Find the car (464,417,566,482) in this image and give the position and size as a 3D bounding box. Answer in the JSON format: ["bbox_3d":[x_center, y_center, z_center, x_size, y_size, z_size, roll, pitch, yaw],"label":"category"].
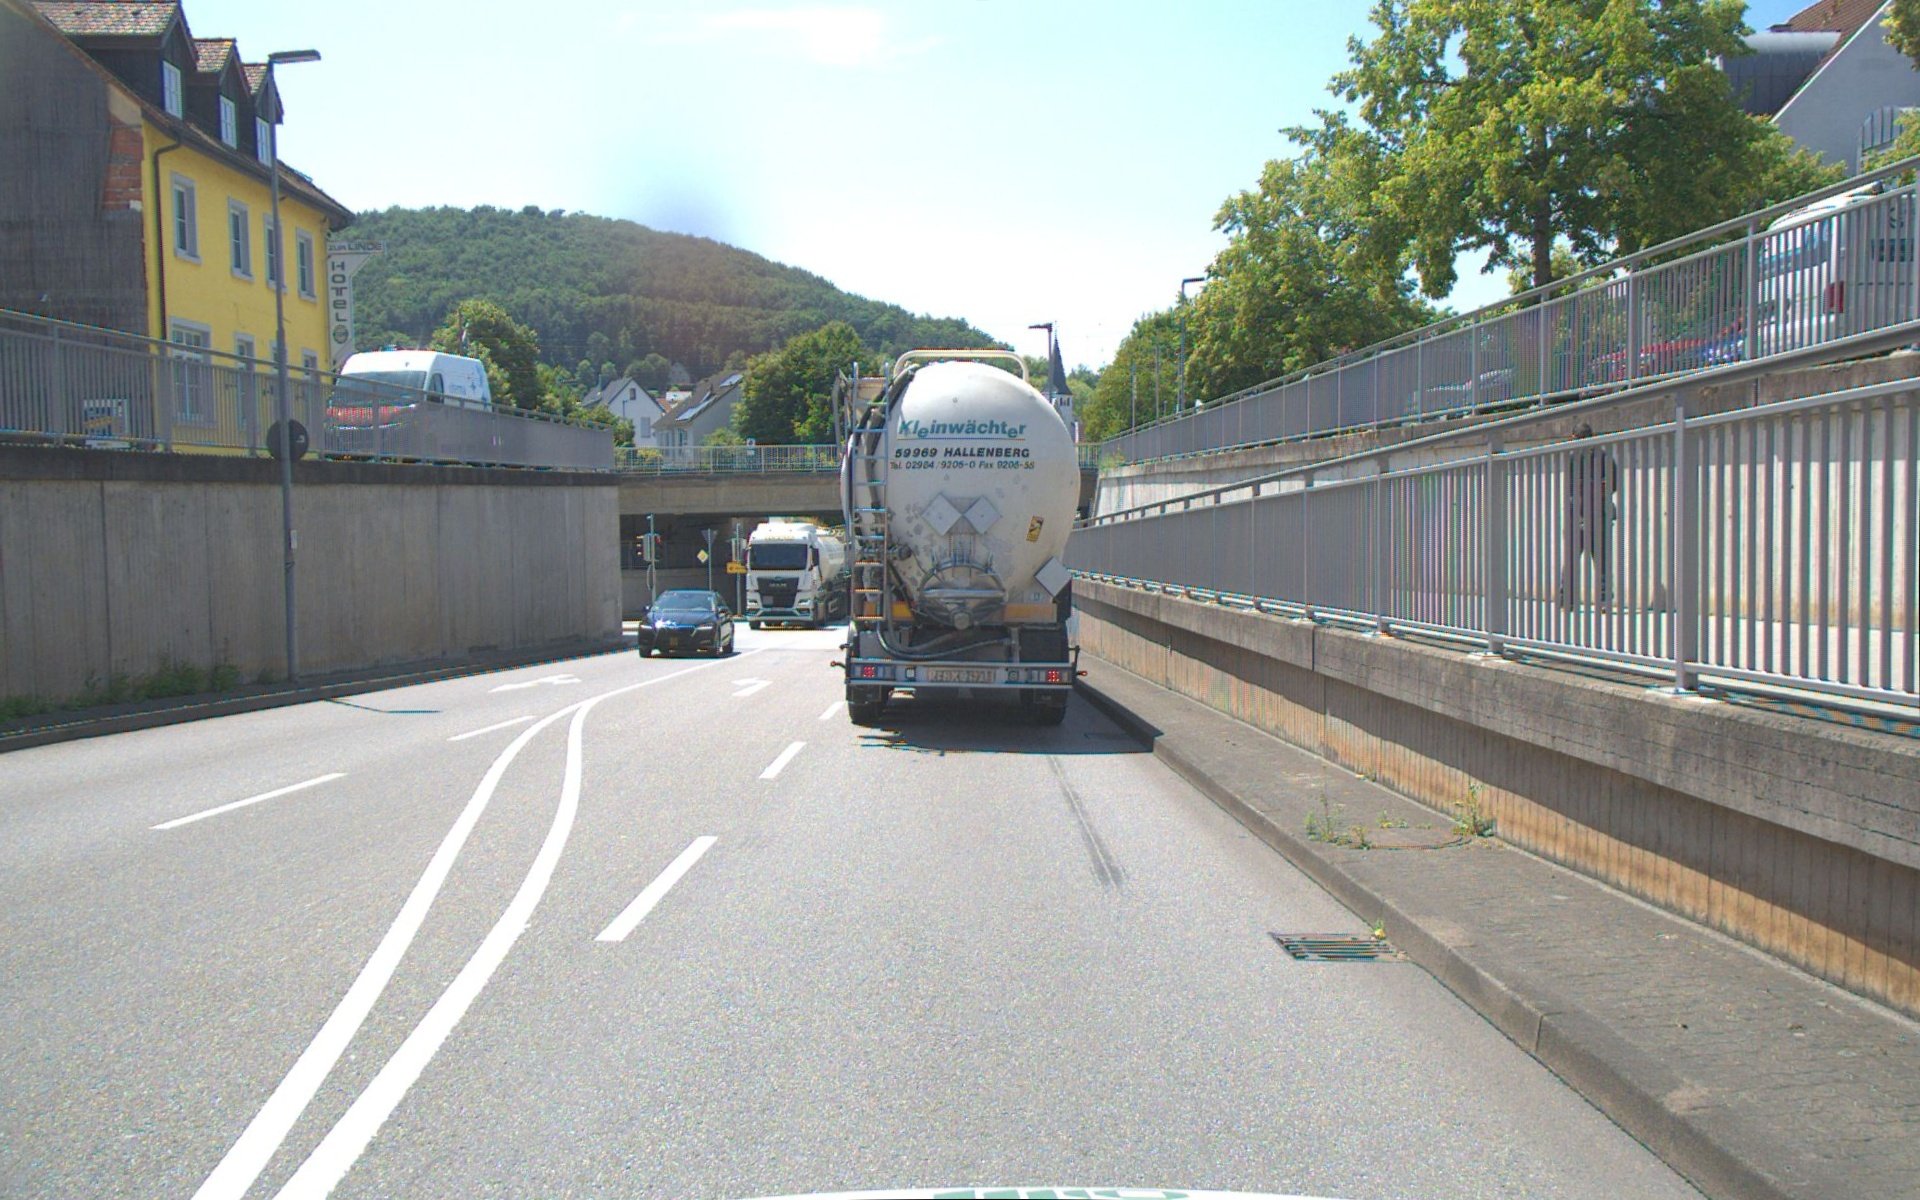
[{"bbox_3d":[-11.369,-3.825,42.491,1.586,1.526,4.045,1,3,-1],"label":"car"}]

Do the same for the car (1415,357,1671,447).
[{"bbox_3d":[9.935,-3.375,28.382,3.825,1.391,1.687,-1,3,0],"label":"car"}]

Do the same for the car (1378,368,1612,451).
[{"bbox_3d":[9.912,-3.528,30.821,3.825,1.391,1.687,-1,3,0],"label":"car"}]

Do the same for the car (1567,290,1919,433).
[{"bbox_3d":[10.111,-3.007,21.096,4.118,1.623,1.687,-1,3,0],"label":"car"}]

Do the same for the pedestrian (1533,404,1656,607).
[{"bbox_3d":[5.831,-0.855,15.243,0.819,1.813,0.788,-1,1,0],"label":"pedestrian"}]

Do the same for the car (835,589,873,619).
[{"bbox_3d":[-5.484,0.168,85.922,1.648,1.466,4.094,2,0,0],"label":"car"}]

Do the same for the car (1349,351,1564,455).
[{"bbox_3d":[9.928,-3.938,33.252,3.825,1.917,1.687,-1,3,0],"label":"car"}]

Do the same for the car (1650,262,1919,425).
[{"bbox_3d":[10.124,-2.839,18.494,4.118,1.623,1.687,-1,3,0],"label":"car"}]

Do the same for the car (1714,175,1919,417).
[{"bbox_3d":[10.366,-2.945,16.261,5.007,2.099,1.989,-1,3,0],"label":"car"}]

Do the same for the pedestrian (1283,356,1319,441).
[{"bbox_3d":[7.509,-4.438,36.430,0.659,1.810,0.594,-1,3,1],"label":"pedestrian"}]

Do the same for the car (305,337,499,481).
[{"bbox_3d":[-11.181,-3.756,33.643,2.023,2.580,5.663,1,3,0],"label":"car"}]

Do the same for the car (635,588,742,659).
[{"bbox_3d":[-6.166,0.491,37.959,1.724,1.515,4.368,0,0,0],"label":"car"}]

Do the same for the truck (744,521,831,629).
[{"bbox_3d":[-6.595,-0.923,64.033,2.607,3.928,6.580,0,0,0],"label":"truck"}]

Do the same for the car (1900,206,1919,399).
[{"bbox_3d":[10.260,-2.550,13.572,4.118,1.623,1.687,-1,3,0],"label":"car"}]

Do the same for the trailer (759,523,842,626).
[{"bbox_3d":[-6.590,-1.005,69.683,2.556,4.033,9.346,0,0,0],"label":"trailer"}]

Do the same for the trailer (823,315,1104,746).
[{"bbox_3d":[0.082,-0.704,22.591,2.679,4.135,13.313,0,0,0],"label":"trailer"}]
